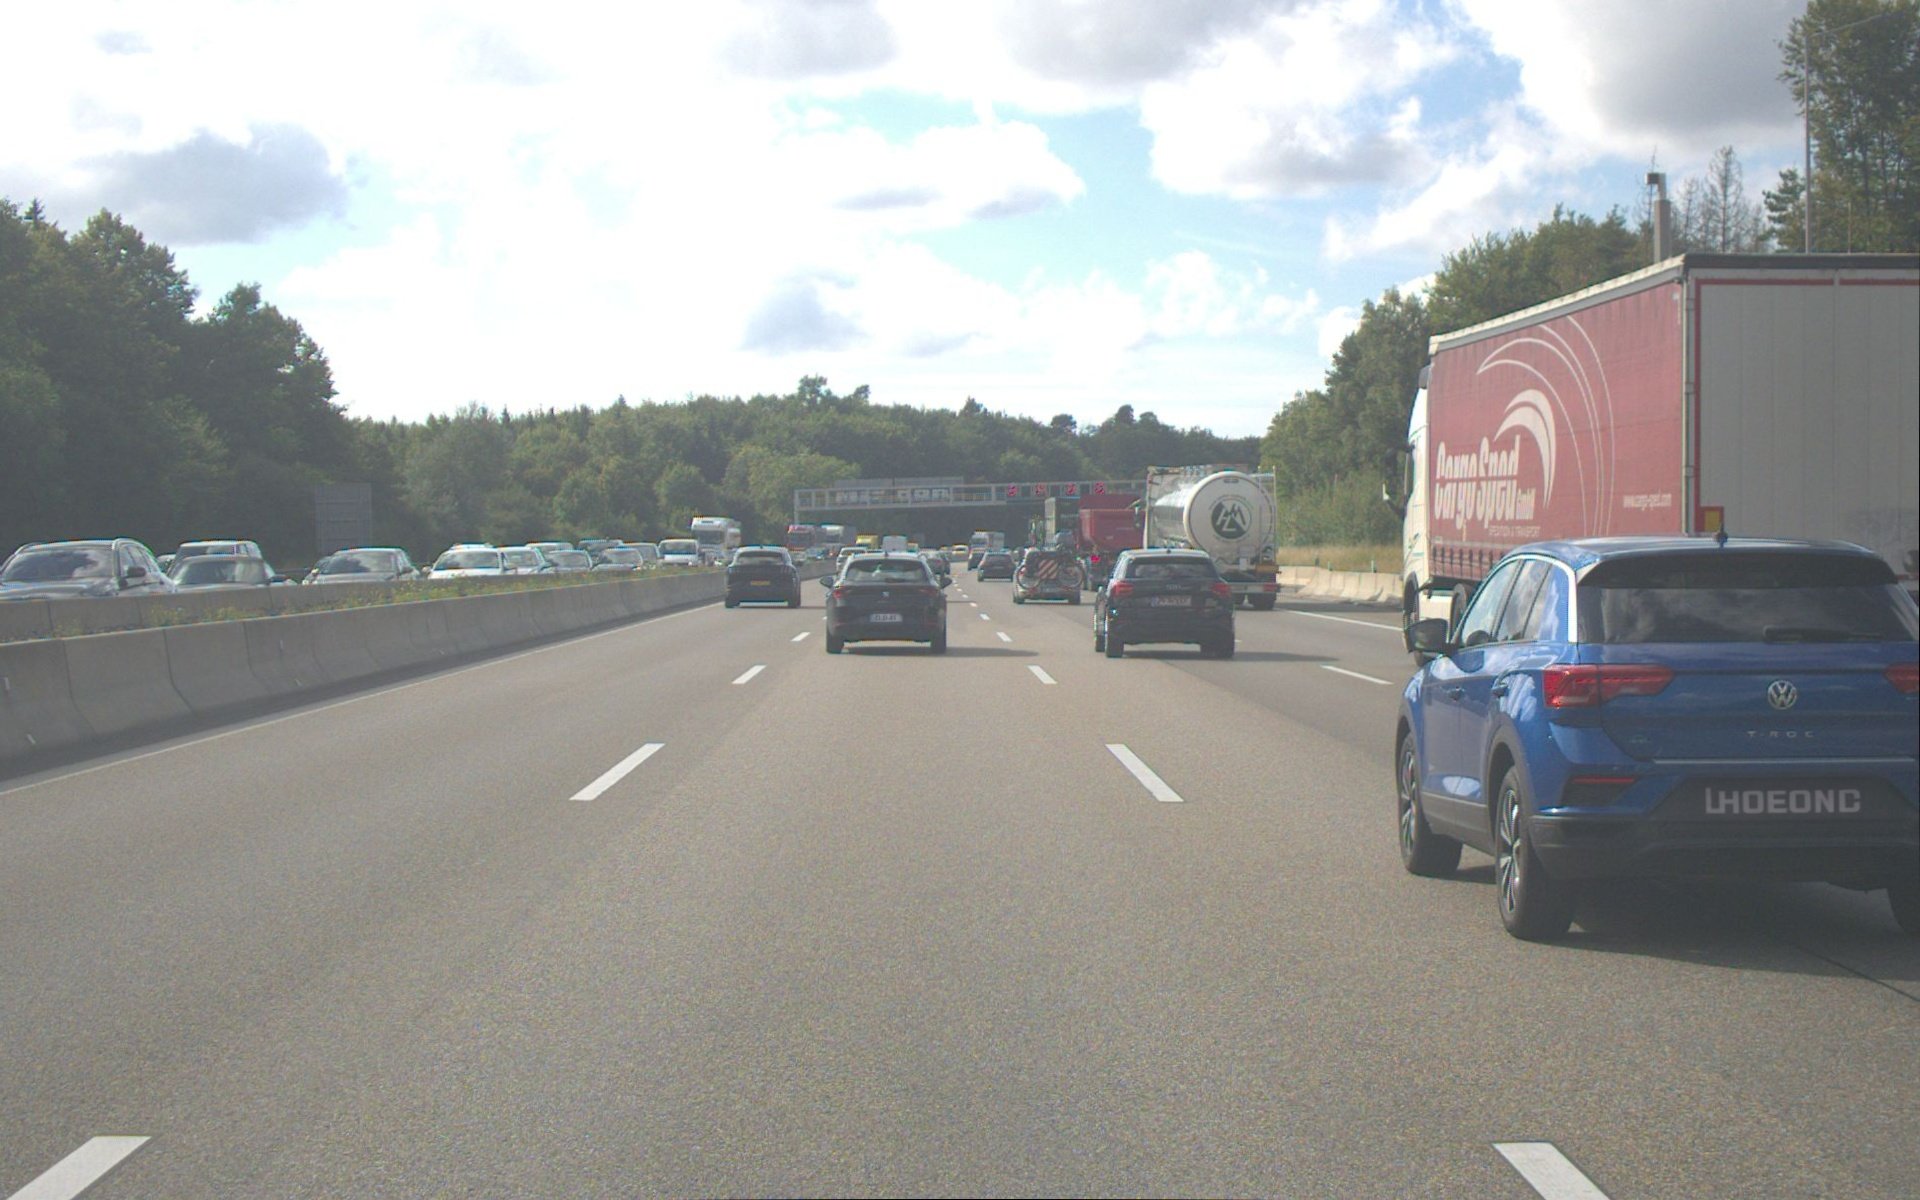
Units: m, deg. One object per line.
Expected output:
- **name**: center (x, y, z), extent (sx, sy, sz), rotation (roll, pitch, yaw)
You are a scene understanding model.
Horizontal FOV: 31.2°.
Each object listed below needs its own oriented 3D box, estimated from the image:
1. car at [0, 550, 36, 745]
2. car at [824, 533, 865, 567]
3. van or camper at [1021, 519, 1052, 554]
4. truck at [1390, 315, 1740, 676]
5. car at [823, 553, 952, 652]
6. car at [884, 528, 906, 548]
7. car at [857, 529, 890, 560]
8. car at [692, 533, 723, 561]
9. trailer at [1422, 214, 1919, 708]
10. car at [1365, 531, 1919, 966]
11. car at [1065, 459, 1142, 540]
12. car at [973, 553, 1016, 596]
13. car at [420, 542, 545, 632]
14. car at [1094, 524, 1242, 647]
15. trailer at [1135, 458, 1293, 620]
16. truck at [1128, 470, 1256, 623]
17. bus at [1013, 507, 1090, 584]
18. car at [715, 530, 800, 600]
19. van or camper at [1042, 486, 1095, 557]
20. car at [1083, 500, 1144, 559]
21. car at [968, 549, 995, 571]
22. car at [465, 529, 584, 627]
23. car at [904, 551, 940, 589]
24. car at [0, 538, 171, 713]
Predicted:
- **car**: center (-10.846, 0.462, 34.236), extent (1.993, 2.007, 4.547), rotation (1, -1, 1)
- **car**: center (-6.505, -2.810, 193.508), extent (2.154, 1.770, 4.000), rotation (1, 0, 0)
- **van or camper**: center (5.451, -4.536, 245.916), extent (2.083, 2.484, 4.225), rotation (0, 1, -1)
- **truck**: center (7.211, -1.134, 41.819), extent (3.080, 4.050, 6.069), rotation (1, -1, -1)
- **car**: center (-1.096, 0.033, 50.264), extent (1.734, 1.360, 4.000), rotation (1, 0, -3)
- **car**: center (-4.950, -4.712, 261.909), extent (1.623, 1.465, 3.814), rotation (1, 0, 0)
- **car**: center (-5.583, -3.573, 221.959), extent (1.993, 2.007, 4.001), rotation (1, 1, -3)
- **car**: center (-18.580, -3.887, 253.067), extent (1.993, 2.007, 4.000), rotation (0, 1, 1)
- **trailer**: center (7.272, -1.029, 35.040), extent (3.038, 4.021, 13.890), rotation (1, -1, -1)
- **car**: center (2.972, 0.485, 14.557), extent (1.924, 1.536, 4.646), rotation (0, 1, 0)
- **car**: center (5.700, -3.985, 137.219), extent (2.866, 2.981, 5.149), rotation (1, -1, 1)
- **car**: center (1.662, -1.229, 166.981), extent (1.993, 2.007, 4.000), rotation (1, 0, -1)
- **car**: center (-10.380, -0.252, 75.083), extent (1.958, 1.858, 4.550), rotation (1, -1, 2)
- **car**: center (2.894, -0.201, 48.564), extent (1.799, 1.639, 4.000), rotation (1, 0, 0)
- **trailer**: center (6.607, -1.471, 91.161), extent (3.036, 4.002, 12.245), rotation (0, 0, -1)
- **truck**: center (6.500, -1.452, 97.283), extent (3.045, 4.146, 7.127), rotation (0, 0, -1)
- **bus**: center (2.519, -1.495, 95.706), extent (1.993, 2.007, 4.000), rotation (1, -1, 0)
- **car**: center (-5.251, -0.922, 89.660), extent (1.993, 1.770, 4.000), rotation (0, 1, 0)
- **van or camper**: center (5.123, -3.711, 163.339), extent (2.351, 3.133, 5.710), rotation (1, -1, 1)
- **car**: center (5.667, -2.594, 127.346), extent (1.993, 2.007, 4.000), rotation (1, -1, -1)
- **car**: center (1.623, -3.008, 259.949), extent (1.993, 1.612, 4.000), rotation (0, 1, -1)
- **car**: center (-9.385, -0.454, 74.351), extent (1.993, 2.007, 4.000), rotation (1, -1, 1)
- **car**: center (-2.138, -1.660, 193.908), extent (1.993, 2.007, 4.000), rotation (-1, -1, -1)
- **car**: center (-11.066, 0.318, 41.769), extent (1.993, 2.007, 4.000), rotation (1, -1, 1)
